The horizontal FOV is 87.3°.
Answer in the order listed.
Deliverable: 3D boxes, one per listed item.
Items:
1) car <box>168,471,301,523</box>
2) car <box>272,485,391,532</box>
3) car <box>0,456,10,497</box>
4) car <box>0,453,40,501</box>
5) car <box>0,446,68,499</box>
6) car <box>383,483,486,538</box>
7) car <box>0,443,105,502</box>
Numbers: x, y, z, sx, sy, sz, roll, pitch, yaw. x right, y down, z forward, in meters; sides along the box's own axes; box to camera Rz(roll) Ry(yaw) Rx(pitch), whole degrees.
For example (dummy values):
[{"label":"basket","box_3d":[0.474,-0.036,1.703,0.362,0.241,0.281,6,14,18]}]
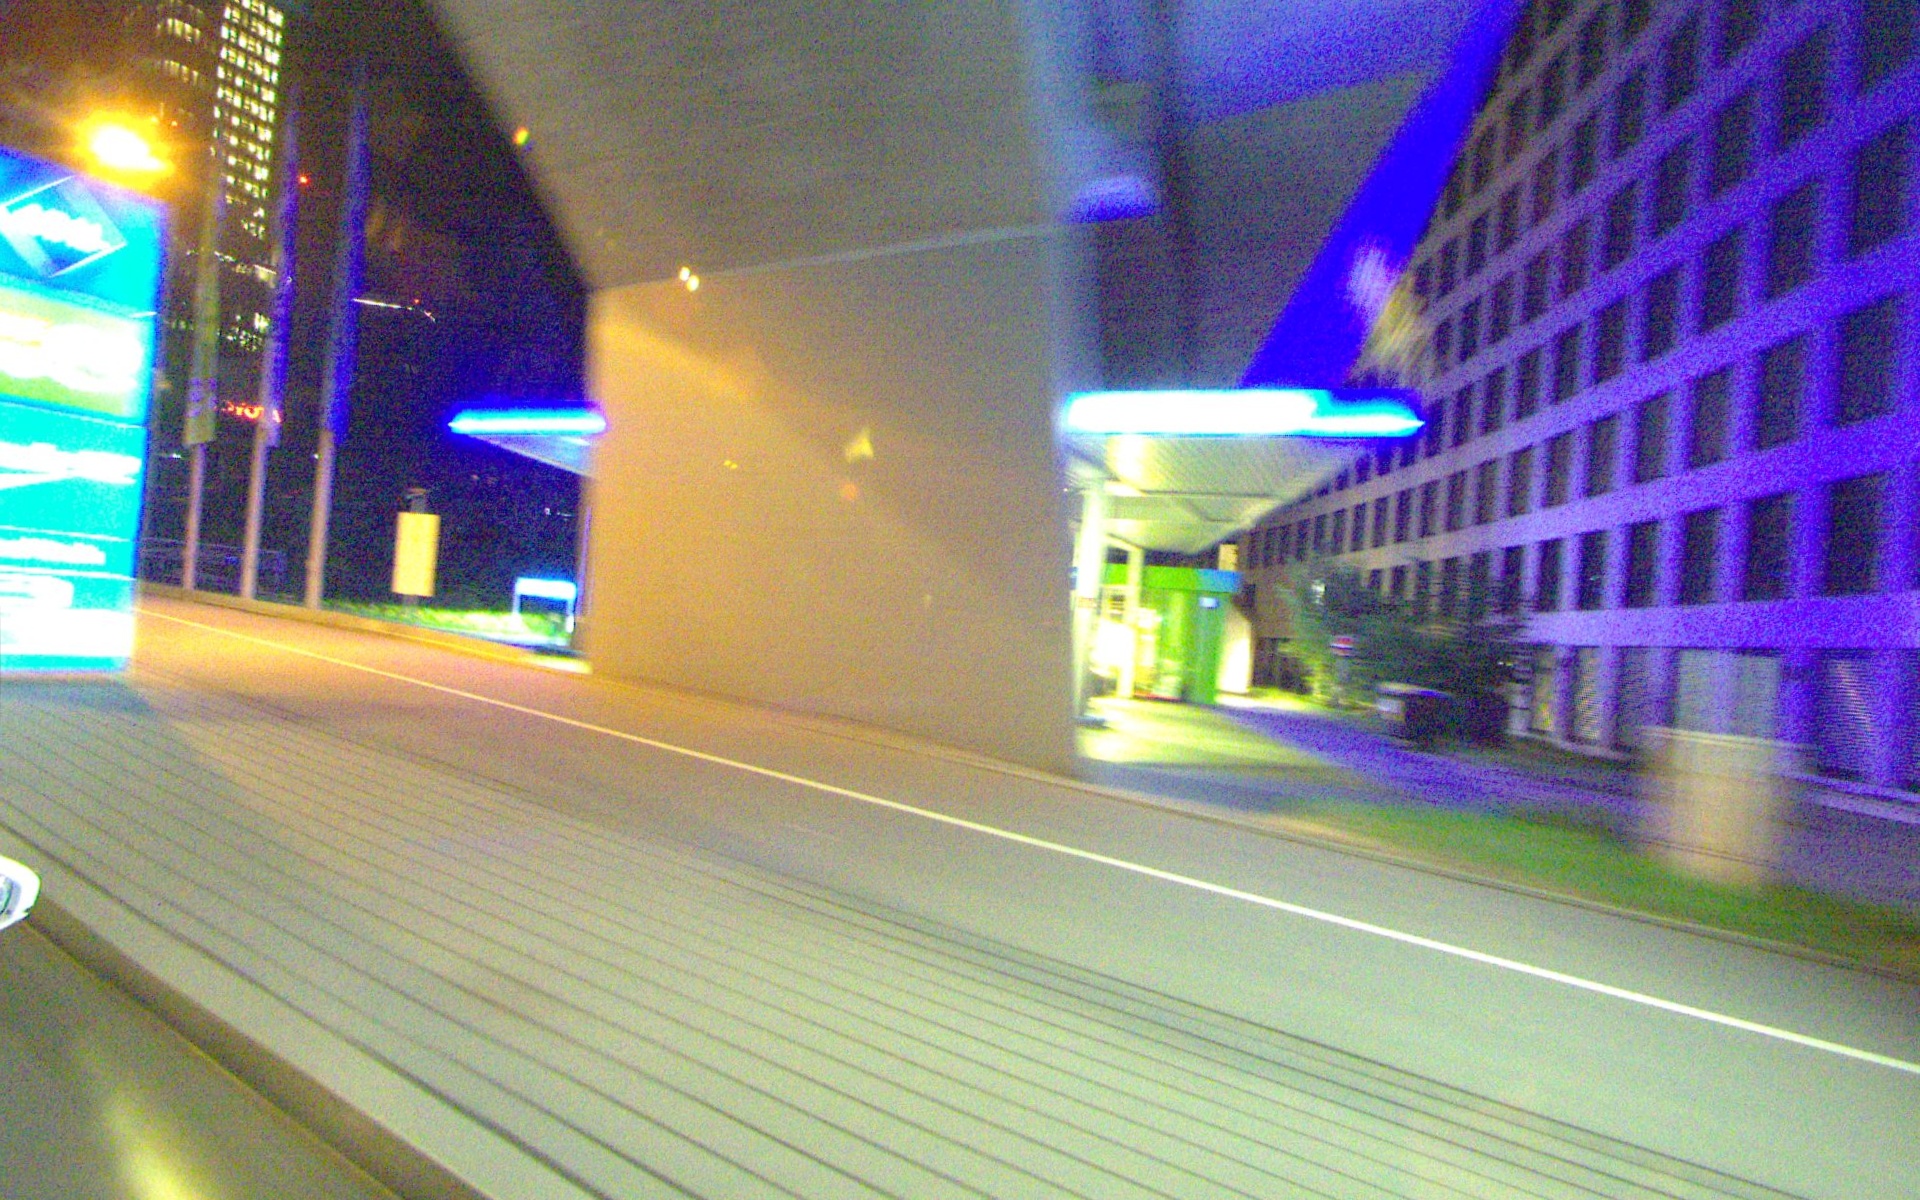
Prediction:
[{"label":"car","box_3d":[-31.555,-4.458,43.883,1.722,1.748,4.358,5,2,32]},{"label":"car","box_3d":[-24.975,-3.629,40.063,1.611,1.490,3.638,5,2,34]},{"label":"car","box_3d":[-38.011,-4.847,37.242,1.712,1.508,3.730,5,0,28]},{"label":"car","box_3d":[-35.853,-4.590,36.151,1.750,1.608,3.750,5,1,29]},{"label":"car","box_3d":[-33.747,-4.558,34.777,1.710,1.591,3.989,5,0,31]},{"label":"car","box_3d":[-24.256,-4.098,46.550,1.722,1.918,3.818,6,-1,27]},{"label":"car","box_3d":[-31.710,-4.363,33.811,1.793,1.541,4.122,5,0,31]}]
